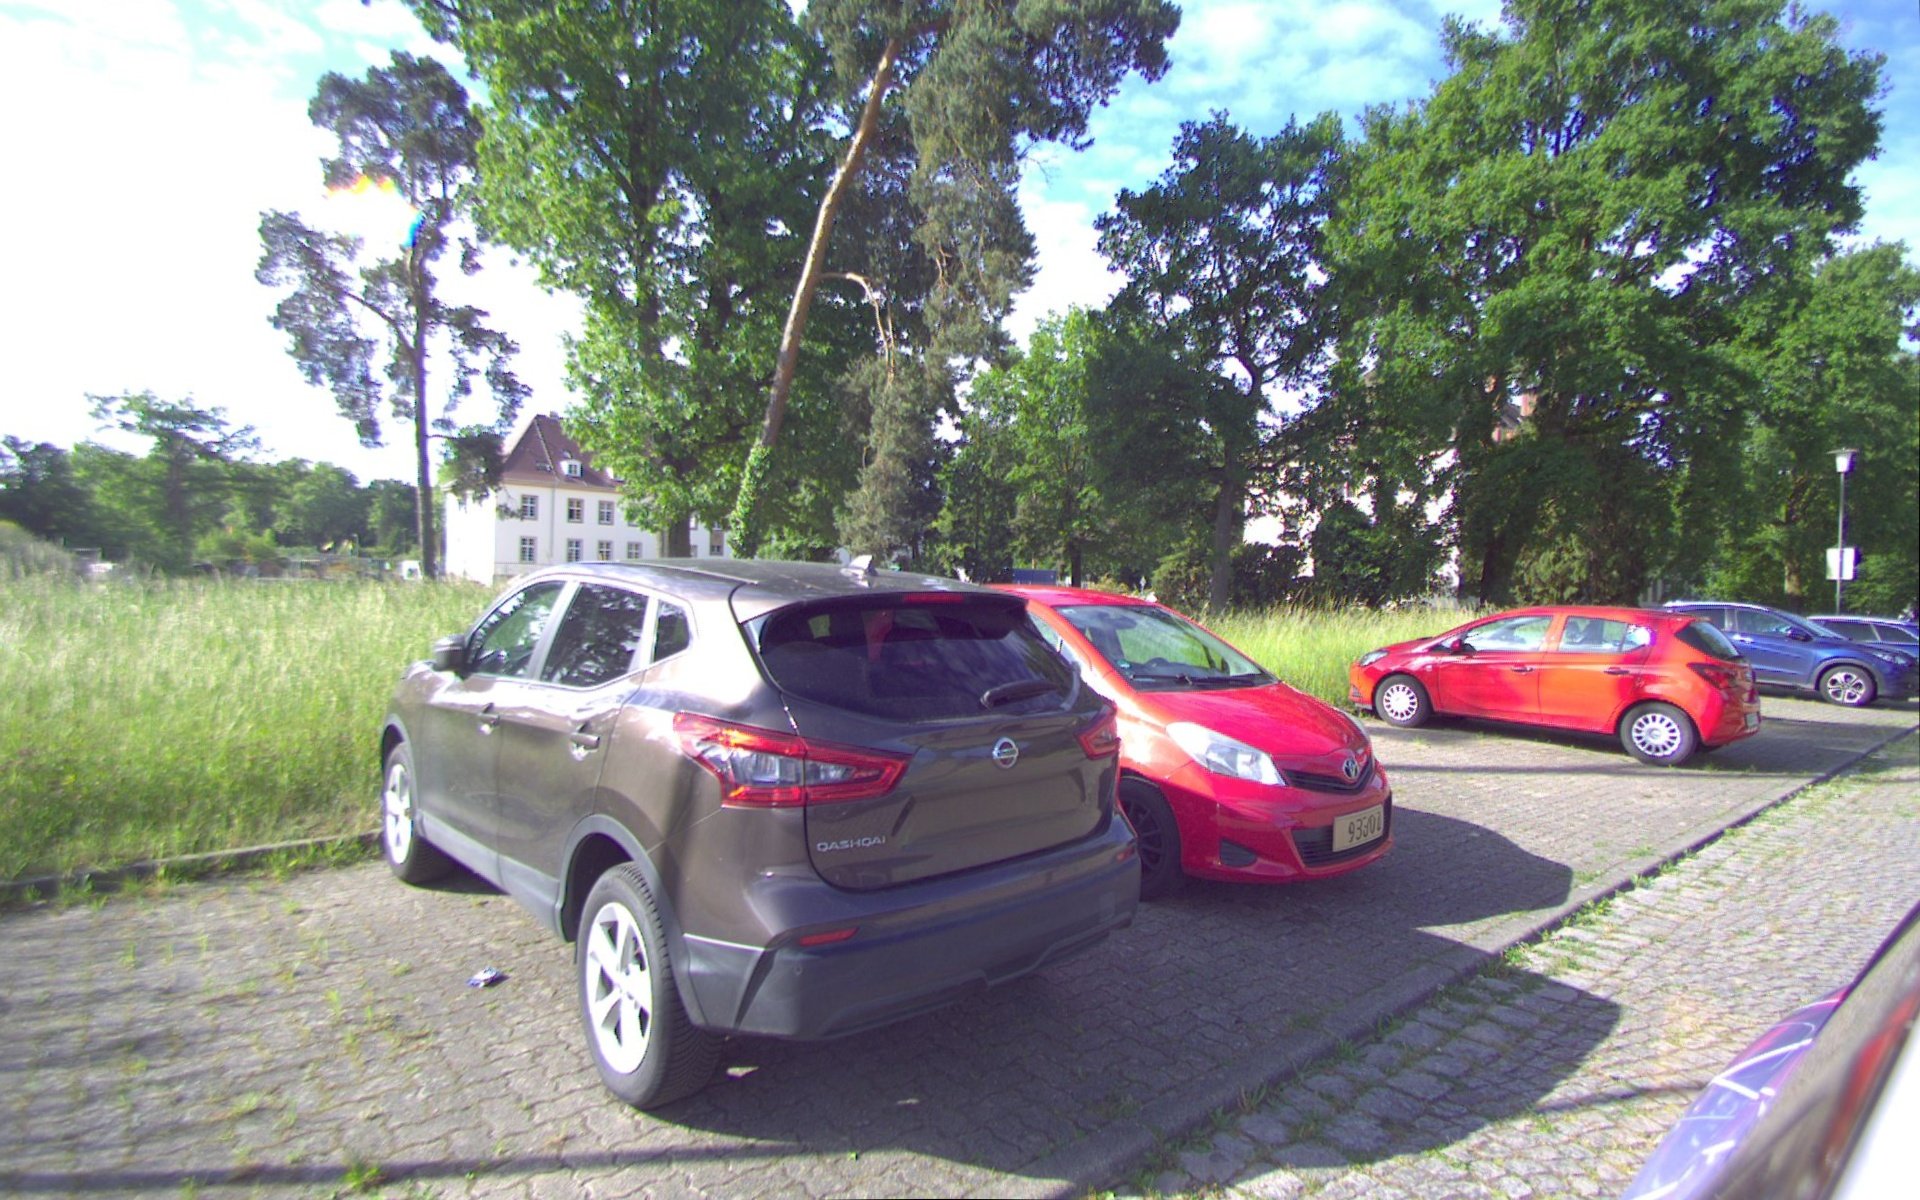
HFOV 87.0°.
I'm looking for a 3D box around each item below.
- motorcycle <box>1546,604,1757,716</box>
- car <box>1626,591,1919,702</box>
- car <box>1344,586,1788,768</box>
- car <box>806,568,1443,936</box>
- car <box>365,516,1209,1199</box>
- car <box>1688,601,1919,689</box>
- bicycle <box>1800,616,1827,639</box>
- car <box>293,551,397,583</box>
[{"bbox_3d":[9.649,0.780,14.221,0.713,1.336,2.305,1,2,-40],"label":"motorcycle"},{"bbox_3d":[14.242,0.715,17.541,1.720,1.611,4.185,1,1,-40],"label":"car"},{"bbox_3d":[6.441,0.682,11.093,1.617,1.497,3.834,1,2,-41],"label":"car"},{"bbox_3d":[0.734,0.614,6.310,1.616,1.549,3.771,1,1,-40],"label":"car"},{"bbox_3d":[-1.119,0.578,4.336,1.741,1.642,3.943,1,1,-41],"label":"car"},{"bbox_3d":[17.731,0.871,20.550,1.682,1.425,4.464,1,3,-37],"label":"car"},{"bbox_3d":[36.170,1.167,42.897,1.121,0.946,0.746,1,1,-44],"label":"bicycle"},{"bbox_3d":[-43.719,-2.352,72.069,5.893,2.198,2.379,0,1,-6],"label":"car"}]
